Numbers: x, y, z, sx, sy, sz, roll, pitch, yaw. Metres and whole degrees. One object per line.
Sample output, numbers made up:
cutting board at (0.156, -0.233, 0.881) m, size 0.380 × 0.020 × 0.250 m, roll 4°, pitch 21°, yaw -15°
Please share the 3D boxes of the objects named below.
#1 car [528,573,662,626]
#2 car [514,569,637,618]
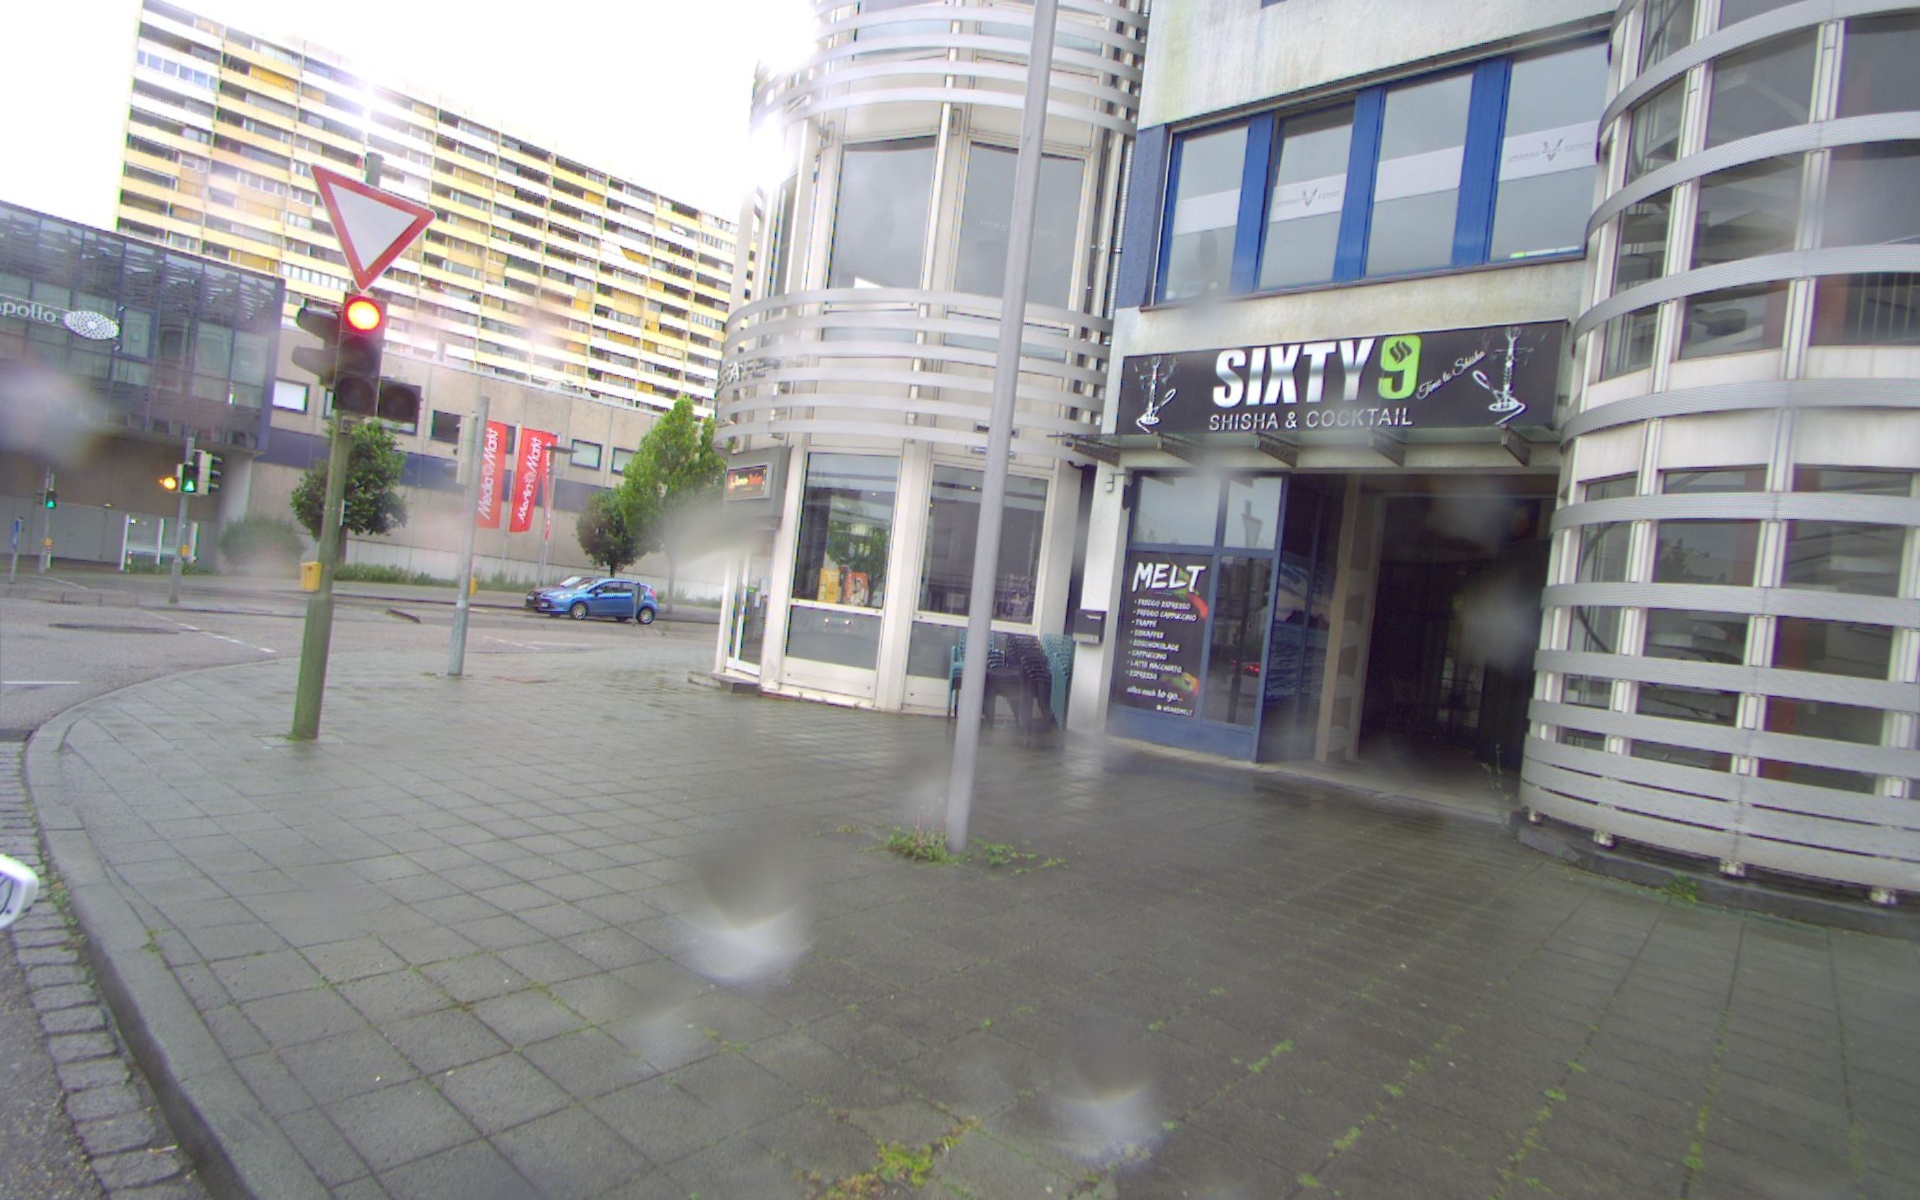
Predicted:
car at (-12.091, -0.004, 33.507) m, size 1.655 × 1.415 × 3.836 m, roll 5°, pitch 0°, yaw 40°
car at (-13.773, -0.225, 36.154) m, size 1.720 × 1.412 × 3.677 m, roll 5°, pitch 0°, yaw 41°
